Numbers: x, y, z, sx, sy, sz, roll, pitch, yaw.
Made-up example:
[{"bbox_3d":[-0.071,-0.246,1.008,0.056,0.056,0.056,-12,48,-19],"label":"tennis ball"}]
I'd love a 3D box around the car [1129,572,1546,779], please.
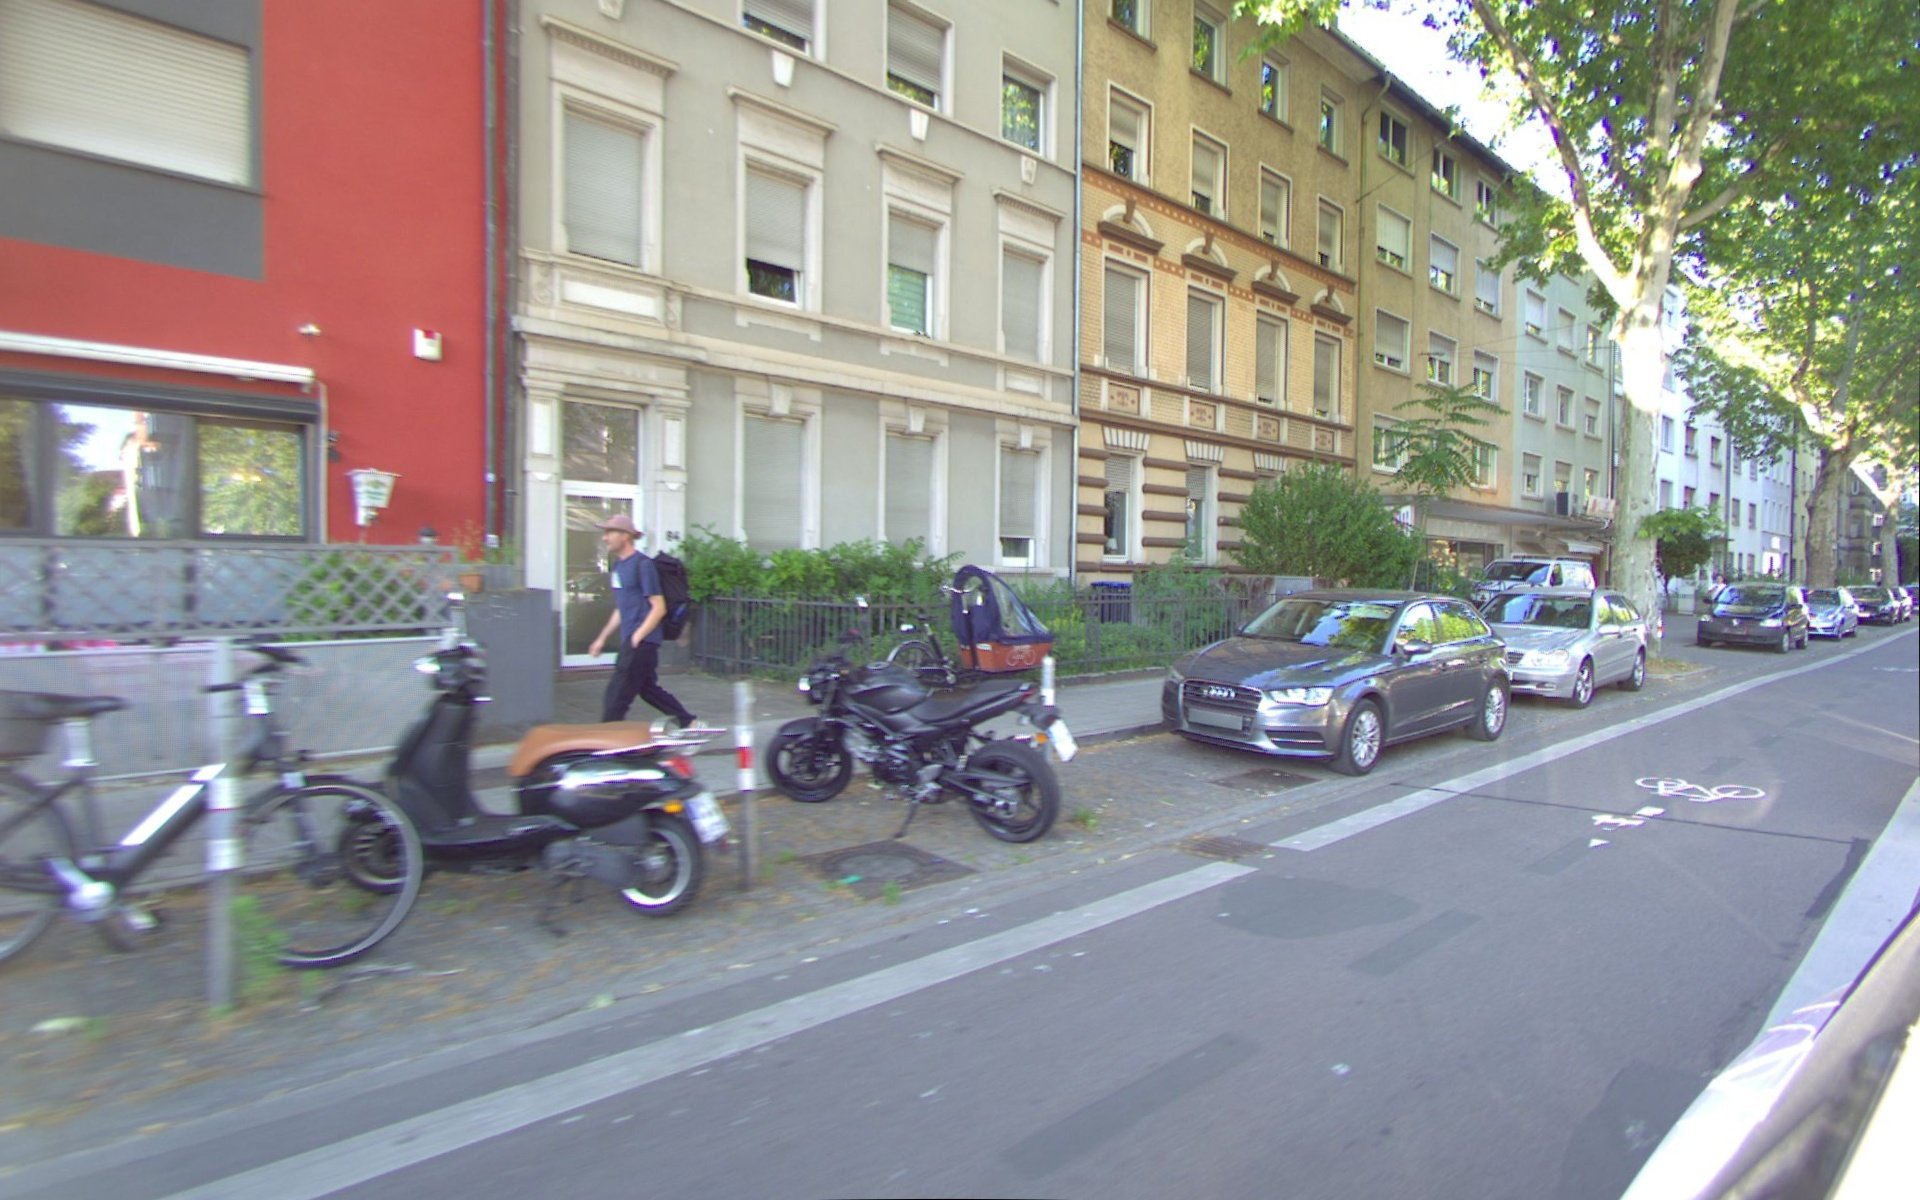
[{"bbox_3d":[3.673,0.494,9.447,4.295,1.418,1.802,-1,5,-41],"label":"car"}]

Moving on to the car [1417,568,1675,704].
[{"bbox_3d":[8.028,0.341,13.671,4.438,1.472,1.801,-2,5,-44],"label":"car"}]

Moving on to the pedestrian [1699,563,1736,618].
[{"bbox_3d":[22.485,-0.283,30.033,0.690,1.600,0.727,-2,2,-41],"label":"pedestrian"}]

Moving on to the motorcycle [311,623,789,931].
[{"bbox_3d":[-1.810,0.736,4.629,1.858,1.124,0.784,3,2,6],"label":"motorcycle"}]

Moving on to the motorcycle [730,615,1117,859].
[{"bbox_3d":[-0.240,0.730,6.016,2.188,1.124,0.659,3,2,22],"label":"motorcycle"}]

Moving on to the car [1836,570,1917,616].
[{"bbox_3d":[33.954,-0.307,37.459,4.296,1.520,1.801,-1,5,-43],"label":"car"}]

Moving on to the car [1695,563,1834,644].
[{"bbox_3d":[18.676,0.015,23.425,4.296,1.628,1.801,-1,5,-43],"label":"car"}]

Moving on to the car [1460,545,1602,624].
[{"bbox_3d":[15.351,-0.470,27.093,4.599,1.897,1.931,-1,5,-43],"label":"car"}]

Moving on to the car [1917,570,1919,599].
[{"bbox_3d":[54.618,-0.829,56.206,4.036,1.628,1.801,-1,5,-43],"label":"car"}]

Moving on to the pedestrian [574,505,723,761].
[{"bbox_3d":[-2.271,0.193,7.367,0.802,1.731,0.728,-2,5,-42],"label":"pedestrian"}]

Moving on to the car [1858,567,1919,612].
[{"bbox_3d":[37.749,-0.459,40.818,4.296,1.628,1.801,-1,5,-43],"label":"car"}]

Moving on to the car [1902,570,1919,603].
[{"bbox_3d":[49.029,-0.669,51.092,4.036,1.628,1.801,-1,5,-43],"label":"car"}]

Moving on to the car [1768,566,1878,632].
[{"bbox_3d":[24.364,-0.088,28.529,4.296,1.628,1.801,-1,5,-43],"label":"car"}]

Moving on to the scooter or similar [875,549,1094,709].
[{"bbox_3d":[0.312,0.240,10.537,2.501,1.488,0.665,-1,2,-42],"label":"scooter or similar"}]

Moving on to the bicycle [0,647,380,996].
[{"bbox_3d":[-3.236,0.773,3.748,1.762,1.124,0.623,2,2,-14],"label":"bicycle"}]
